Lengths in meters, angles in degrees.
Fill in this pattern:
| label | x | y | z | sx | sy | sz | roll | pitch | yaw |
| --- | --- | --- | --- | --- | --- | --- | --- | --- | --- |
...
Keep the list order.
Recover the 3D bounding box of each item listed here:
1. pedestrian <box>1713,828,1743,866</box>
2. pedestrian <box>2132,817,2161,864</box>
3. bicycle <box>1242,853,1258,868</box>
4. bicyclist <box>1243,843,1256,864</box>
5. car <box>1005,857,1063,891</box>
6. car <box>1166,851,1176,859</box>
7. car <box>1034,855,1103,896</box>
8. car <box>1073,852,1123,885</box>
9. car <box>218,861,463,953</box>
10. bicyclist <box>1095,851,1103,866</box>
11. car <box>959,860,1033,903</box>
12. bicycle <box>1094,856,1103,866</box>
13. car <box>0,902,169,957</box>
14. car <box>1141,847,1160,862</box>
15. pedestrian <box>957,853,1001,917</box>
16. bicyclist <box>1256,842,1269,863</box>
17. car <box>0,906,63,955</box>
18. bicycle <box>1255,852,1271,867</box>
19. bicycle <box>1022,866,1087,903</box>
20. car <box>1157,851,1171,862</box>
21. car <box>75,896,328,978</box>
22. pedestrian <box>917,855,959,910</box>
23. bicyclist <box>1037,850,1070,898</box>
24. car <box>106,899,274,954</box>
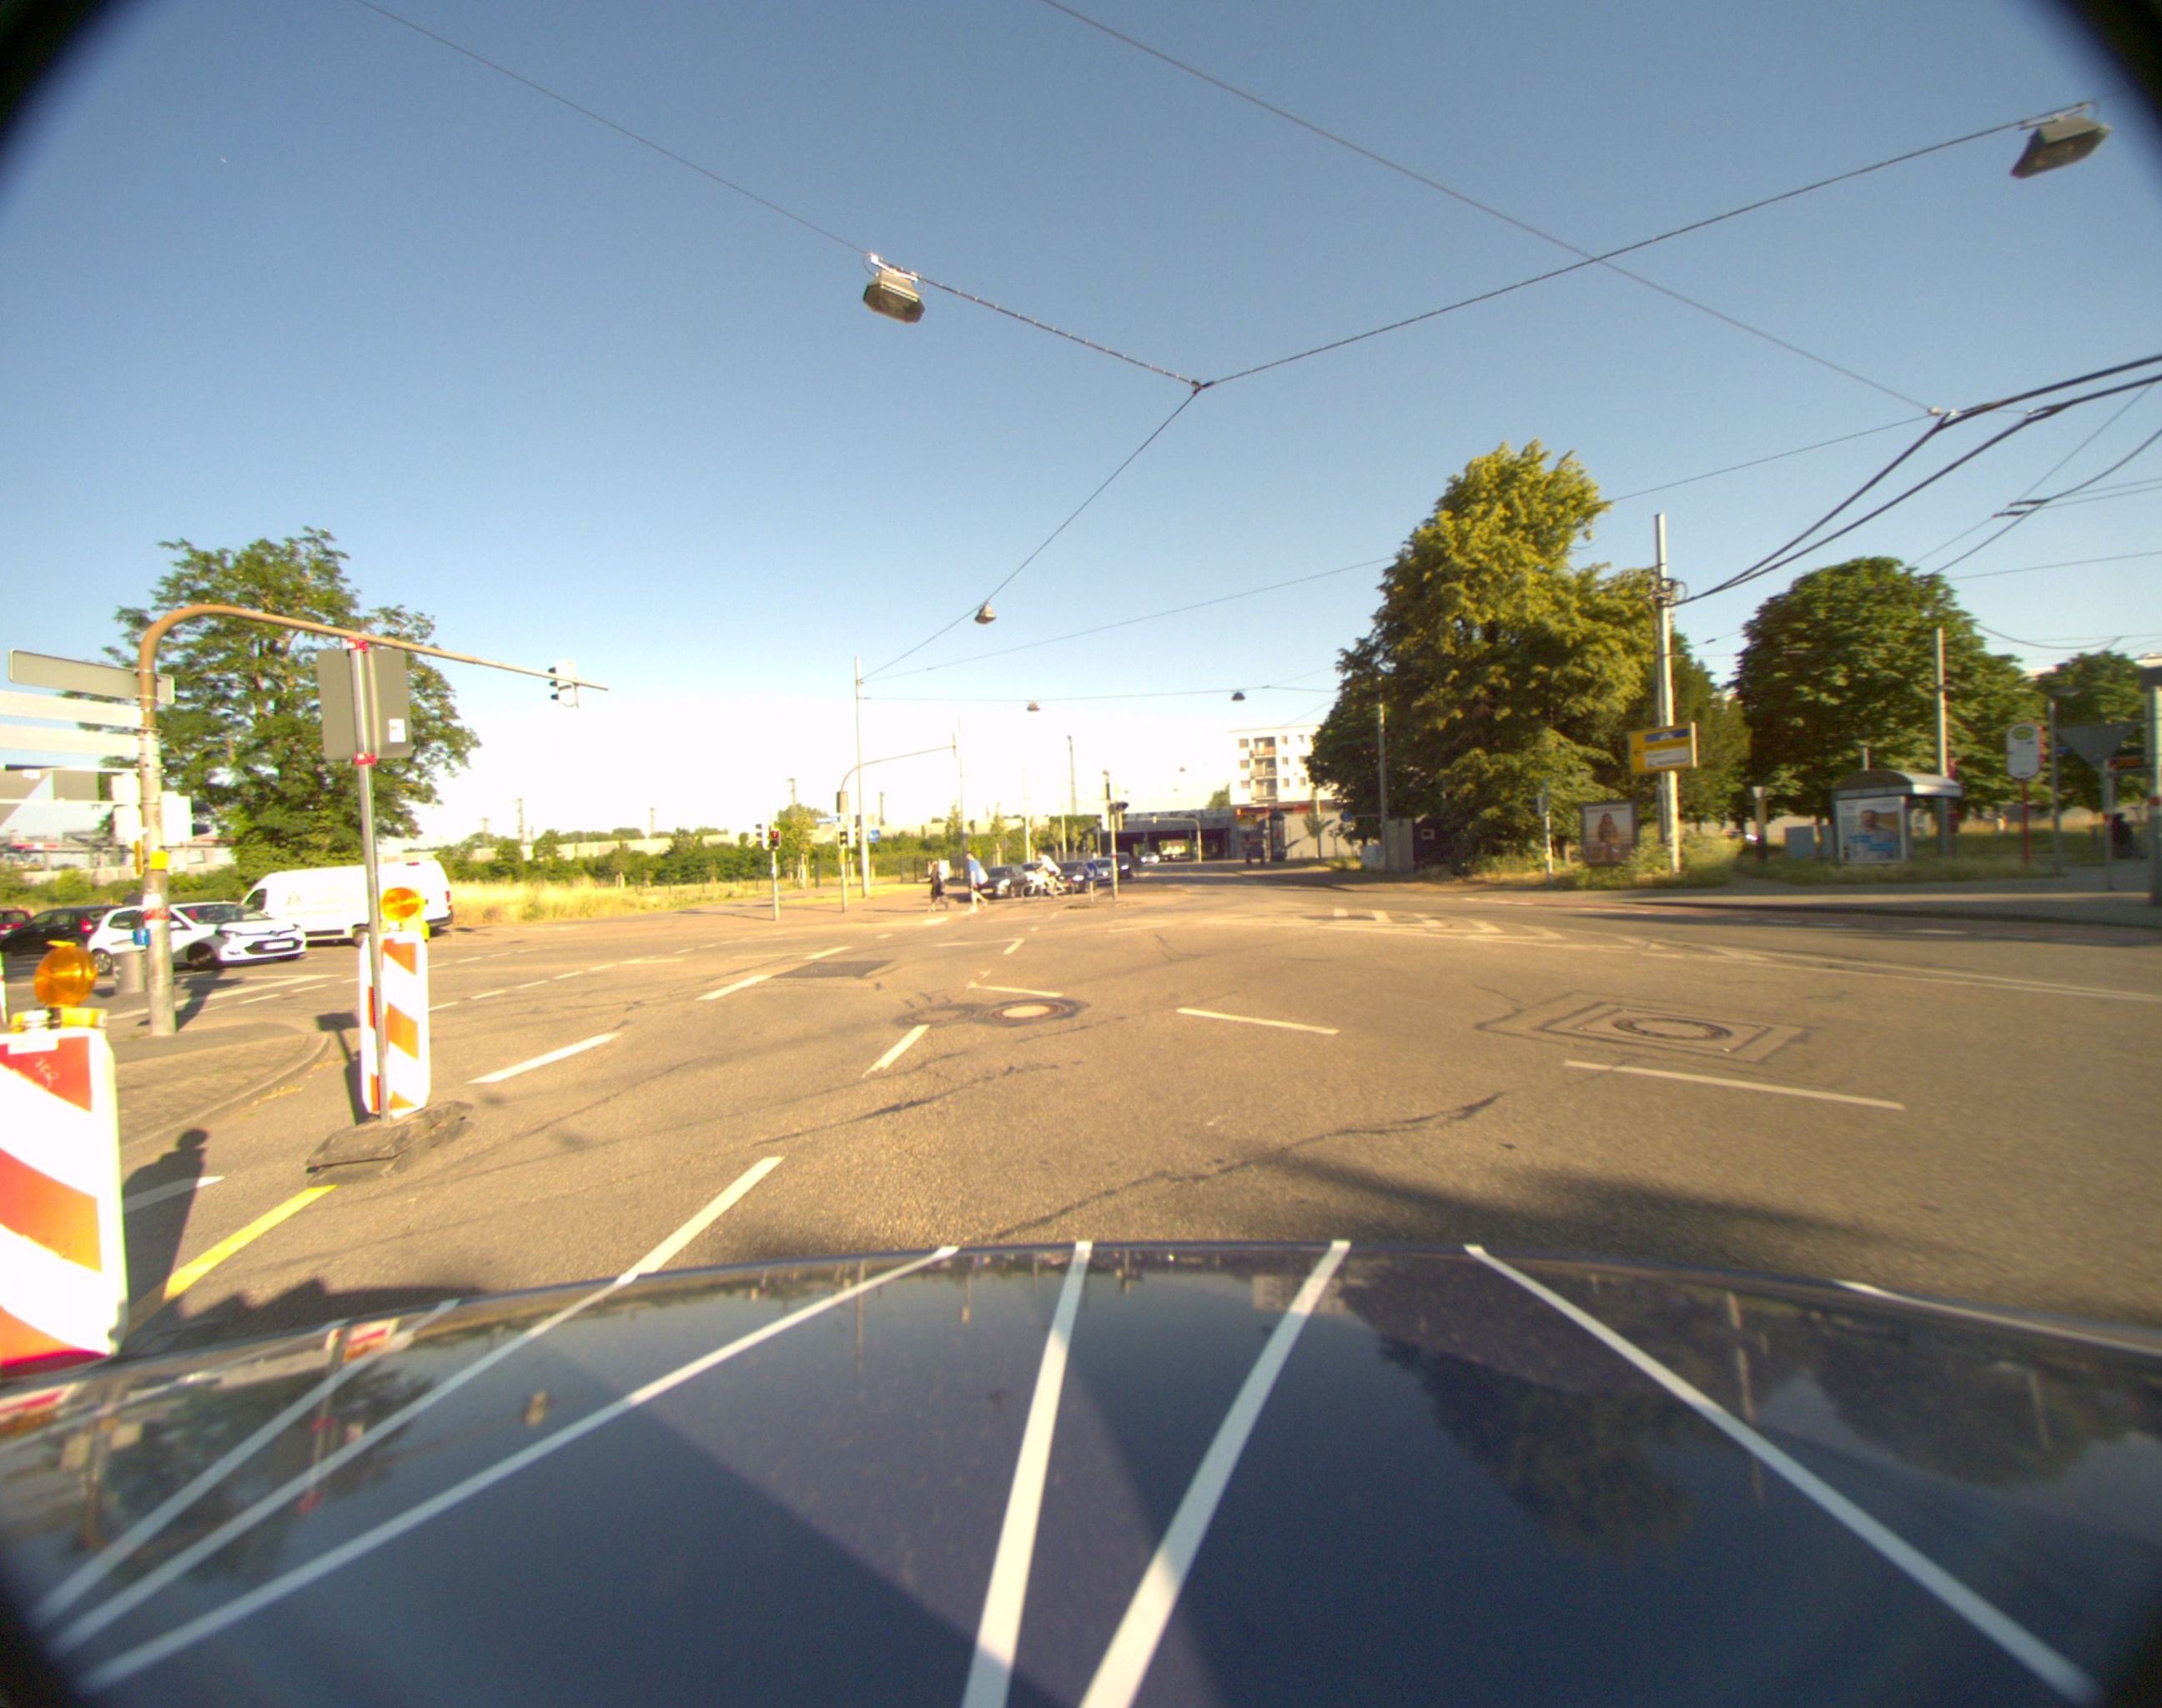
| label | x | y | z | sx | sy | sz | roll | pitch | yaw |
| --- | --- | --- | --- | --- | --- | --- | --- | --- | --- |
| pedestrian | 26.028 | -0.272 | 30.562 | 0.669 | 1.484 | 0.851 | -2 | 1 | 24 |
| pedestrian | 33.222 | -0.413 | 23.625 | 0.506 | 1.418 | 0.596 | -3 | 1 | -40 |
| bicycle | 12.665 | 0.467 | 57.089 | 0.663 | 1.063 | 2.019 | -2 | 0 | -1 |
| bicyclist | 12.662 | -0.041 | 57.082 | 0.697 | 1.523 | 1.037 | -3 | 1 | -1 |
| car | -2.376 | 0.989 | 39.367 | 1.997 | 1.558 | 4.278 | -3 | 0 | 10 |
| car | 20.389 | 0.301 | 172.444 | 1.997 | 1.694 | 4.003 | -2 | 0 | 11 |
| car | -0.441 | 0.881 | 33.307 | 2.050 | 1.558 | 4.454 | -3 | 0 | 11 |
| car | 0.992 | 0.746 | 41.393 | 1.997 | 1.558 | 4.459 | -3 | 0 | 10 |
| car | -22.956 | 1.607 | 23.704 | 5.554 | 2.423 | 2.236 | -2 | 3 | 6 |
| bicyclist | 2.032 | 0.487 | 85.506 | 0.776 | 1.596 | 0.858 | -2 | 0 | 7 |
| car | -3.571 | 1.125 | 32.802 | 1.997 | 1.558 | 4.278 | -3 | 0 | 10 |
| bicycle | 1.983 | 0.813 | 85.451 | 0.662 | 1.063 | 2.020 | -2 | 0 | 8 |
| car | -33.363 | 2.504 | 25.439 | 3.812 | 1.521 | 1.747 | -3 | 1 | 7 |
| car | 8.726 | 0.058 | 95.094 | 1.997 | 1.694 | 4.003 | -2 | 0 | 9 |
| pedestrian | -3.146 | 0.936 | 23.465 | 1.066 | 1.914 | 0.915 | -2 | 1 | 6 |
| bicyclist | 13.642 | -0.101 | 57.040 | 0.660 | 1.523 | 1.037 | -3 | 1 | 0 |
| car | -37.630 | 2.686 | 26.036 | 3.575 | 1.521 | 1.666 | -3 | 1 | 7 |
| bicycle | 13.675 | 0.391 | 57.120 | 0.663 | 1.063 | 2.019 | -2 | 0 | 0 |
| bicycle | -0.939 | 1.052 | 26.444 | 2.200 | 1.135 | 0.700 | -3 | 1 | -5 |
| car | 14.632 | 0.429 | 133.941 | 1.997 | 1.694 | 4.003 | -2 | 0 | 11 |
| car | -19.039 | 1.772 | 16.539 | 3.771 | 1.460 | 1.706 | -3 | 1 | 6 |
| pedestrian | -4.626 | 0.908 | 24.624 | 1.066 | 1.737 | 0.915 | -2 | 1 | 6 |
| bicyclist | -0.965 | 0.693 | 26.438 | 1.041 | 1.620 | 0.713 | -3 | 1 | -5 |
| car | -29.043 | 2.350 | 24.829 | 3.689 | 1.478 | 1.747 | -3 | 1 | 7 |
